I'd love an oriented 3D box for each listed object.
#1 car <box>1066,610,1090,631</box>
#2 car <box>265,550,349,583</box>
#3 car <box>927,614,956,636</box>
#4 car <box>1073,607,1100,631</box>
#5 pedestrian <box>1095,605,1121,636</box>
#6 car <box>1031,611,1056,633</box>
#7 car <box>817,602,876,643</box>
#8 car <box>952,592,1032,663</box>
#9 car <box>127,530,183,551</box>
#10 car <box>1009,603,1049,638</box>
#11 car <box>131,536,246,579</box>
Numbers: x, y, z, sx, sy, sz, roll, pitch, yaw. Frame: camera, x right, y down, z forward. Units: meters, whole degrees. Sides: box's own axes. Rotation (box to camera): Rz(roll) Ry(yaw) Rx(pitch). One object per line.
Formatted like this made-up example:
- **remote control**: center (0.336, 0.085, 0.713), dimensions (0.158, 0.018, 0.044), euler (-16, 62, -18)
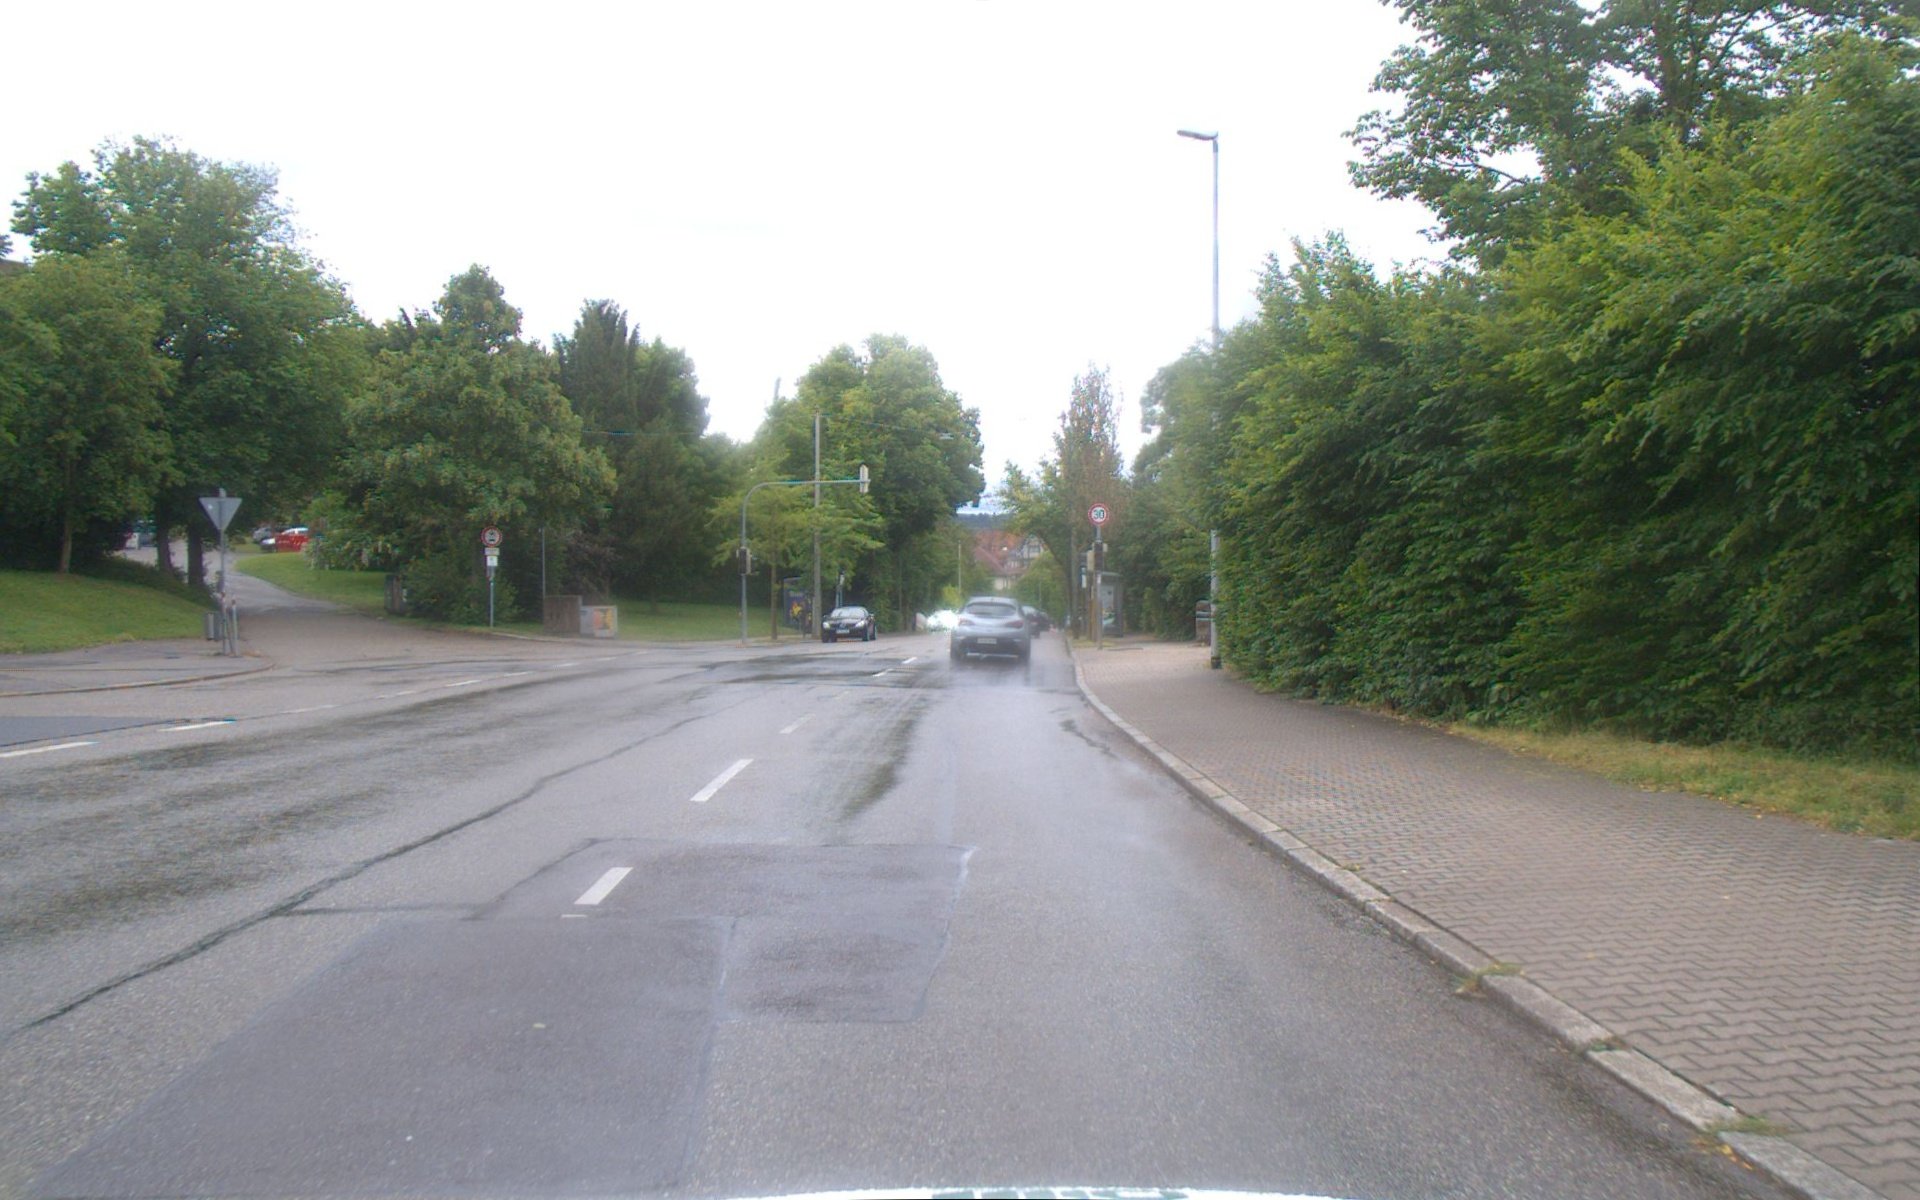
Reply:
- **car**: center (8.709, 1.500, 121.777), dimensions (1.685, 1.489, 4.002), euler (-1, 0, 4)
- **car**: center (-33.029, -1.682, 83.711), dimensions (3.838, 1.512, 1.924), euler (1, -1, -19)
- **car**: center (-1.262, 1.720, 113.514), dimensions (1.685, 1.423, 4.002), euler (2, 0, 4)
- **car**: center (8.134, 1.183, 106.620), dimensions (1.685, 1.489, 4.002), euler (-1, 0, 4)
- **pedestrian**: center (6.616, 0.908, 73.811), dimensions (1.050, 1.379, 0.919), euler (-1, -1, 10)
- **car**: center (6.196, 1.647, 123.190), dimensions (1.686, 1.489, 4.001), euler (3, 0, 2)
- **car**: center (-4.187, 0.820, 61.454), dimensions (1.626, 1.329, 4.085), euler (-2, 1, 4)
- **car**: center (0.782, 0.602, 38.906), dimensions (1.718, 1.489, 4.001), euler (2, 1, 2)
- **car**: center (-64.885, -4.775, 133.313), dimensions (3.943, 1.408, 1.710), euler (3, 0, -30)
- **car**: center (3.111, 0.917, 75.128), dimensions (1.686, 1.489, 4.001), euler (3, 0, 2)
- **car**: center (-29.994, -1.634, 64.393), dimensions (3.838, 1.512, 1.924), euler (1, -1, -19)
